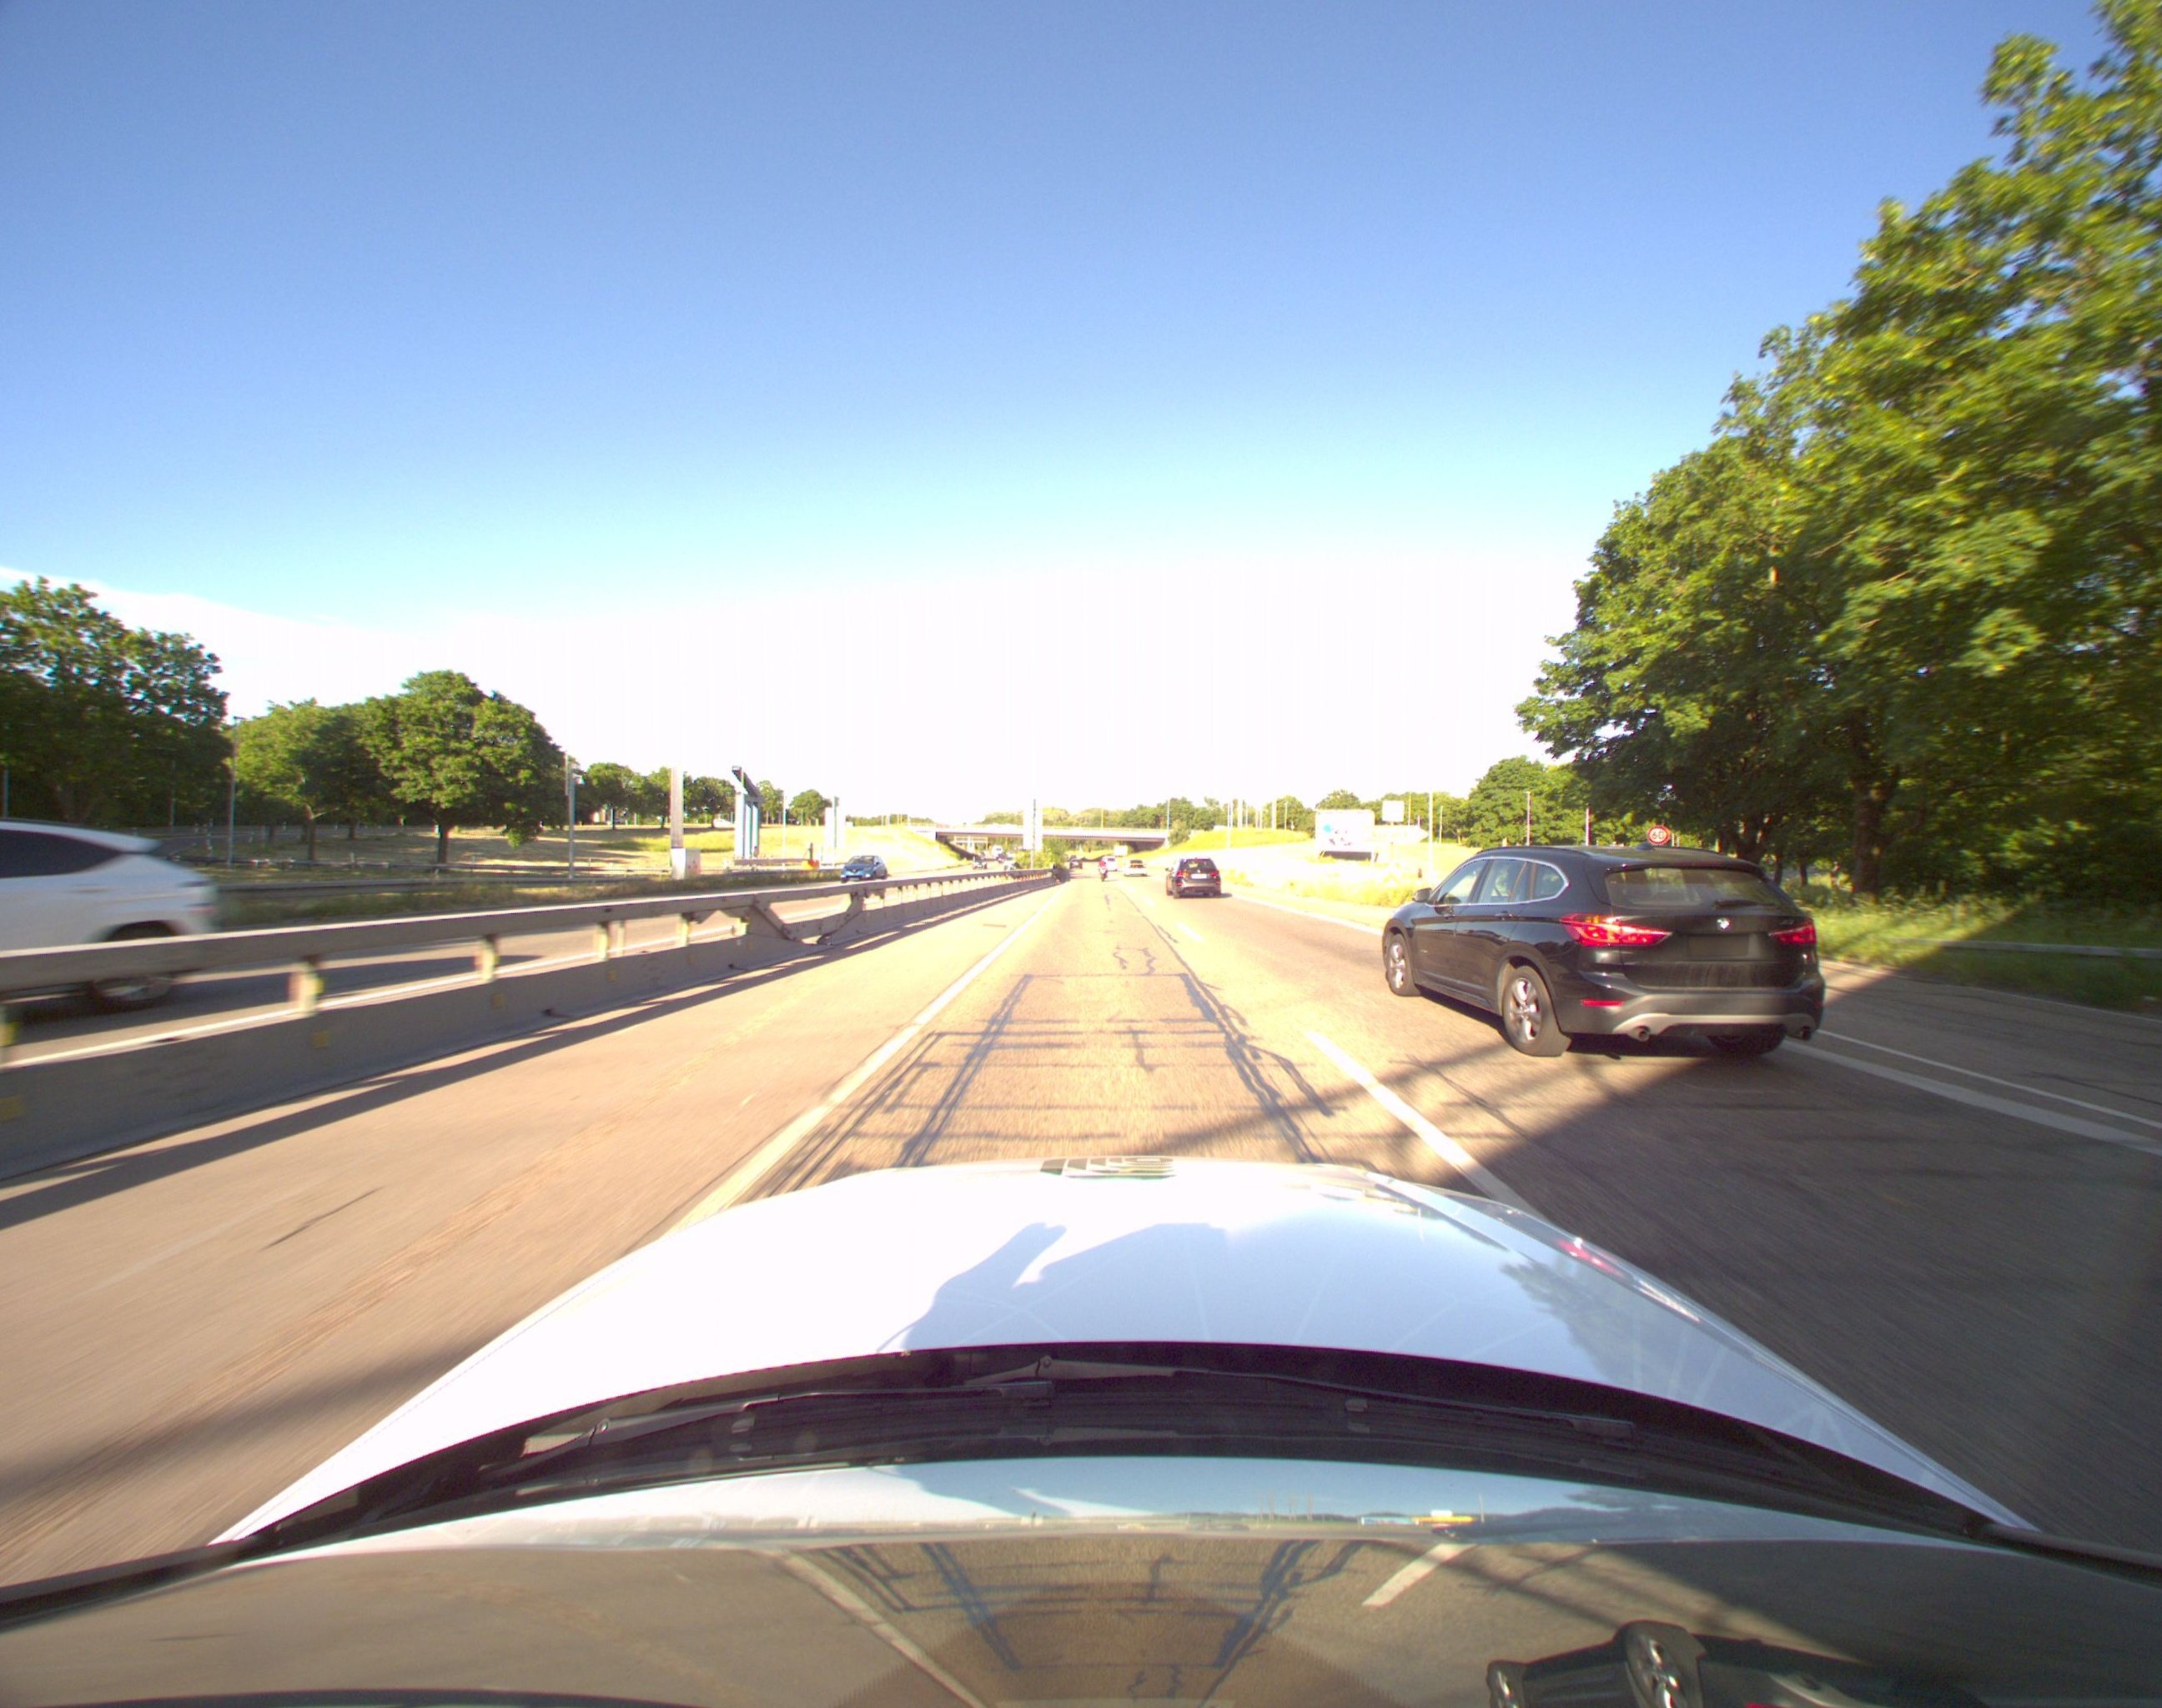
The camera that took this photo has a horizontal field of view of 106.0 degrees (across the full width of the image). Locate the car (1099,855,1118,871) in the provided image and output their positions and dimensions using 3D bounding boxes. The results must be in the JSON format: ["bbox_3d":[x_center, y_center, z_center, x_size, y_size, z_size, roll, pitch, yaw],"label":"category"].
[{"bbox_3d":[3.296,1.066,97.349,1.892,1.767,3.997,-2,0,-2],"label":"car"}]

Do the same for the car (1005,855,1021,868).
[{"bbox_3d":[-7.973,0.875,95.837,1.711,1.575,4.161,-1,0,-2],"label":"car"}]

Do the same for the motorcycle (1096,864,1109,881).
[{"bbox_3d":[1.525,1.288,57.076,0.813,1.069,2.838,0,0,3],"label":"motorcycle"}]

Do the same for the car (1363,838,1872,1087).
[{"bbox_3d":[4.208,0.682,7.461,1.749,1.573,4.521,-1,0,1],"label":"car"}]

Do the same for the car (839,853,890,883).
[{"bbox_3d":[-11.773,0.733,44.586,1.667,1.572,4.320,-1,0,0],"label":"car"}]

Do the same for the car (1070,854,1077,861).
[{"bbox_3d":[-2.063,0.977,218.935,1.862,1.685,4.001,1,0,1],"label":"car"}]

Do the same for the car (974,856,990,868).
[{"bbox_3d":[-12.356,0.981,101.498,1.605,1.485,3.390,-1,0,-2],"label":"car"}]

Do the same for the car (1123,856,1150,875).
[{"bbox_3d":[4.729,0.988,70.069,1.892,1.471,3.997,-1,1,-2],"label":"car"}]

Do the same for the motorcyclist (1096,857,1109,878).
[{"bbox_3d":[1.503,0.957,56.910,0.813,1.447,1.094,0,0,3],"label":"motorcyclist"}]

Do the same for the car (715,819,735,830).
[{"bbox_3d":[-92.604,-7.557,211.913,4.274,2.805,2.091,0,0,19],"label":"car"}]

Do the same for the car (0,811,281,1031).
[{"bbox_3d":[-8.643,0.493,5.566,1.780,1.578,4.534,-1,0,2],"label":"car"}]

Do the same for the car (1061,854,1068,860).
[{"bbox_3d":[-4.730,0.987,237.070,1.862,1.685,4.001,1,0,1],"label":"car"}]

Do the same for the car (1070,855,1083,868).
[{"bbox_3d":[-0.643,1.051,116.192,1.891,1.767,4.000,1,0,0],"label":"car"}]

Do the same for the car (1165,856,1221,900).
[{"bbox_3d":[4.252,0.891,31.535,1.692,1.506,4.581,-2,-1,2],"label":"car"}]

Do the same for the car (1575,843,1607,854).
[{"bbox_3d":[81.987,-0.821,130.898,1.872,1.691,3.966,-1,1,-26],"label":"car"}]
